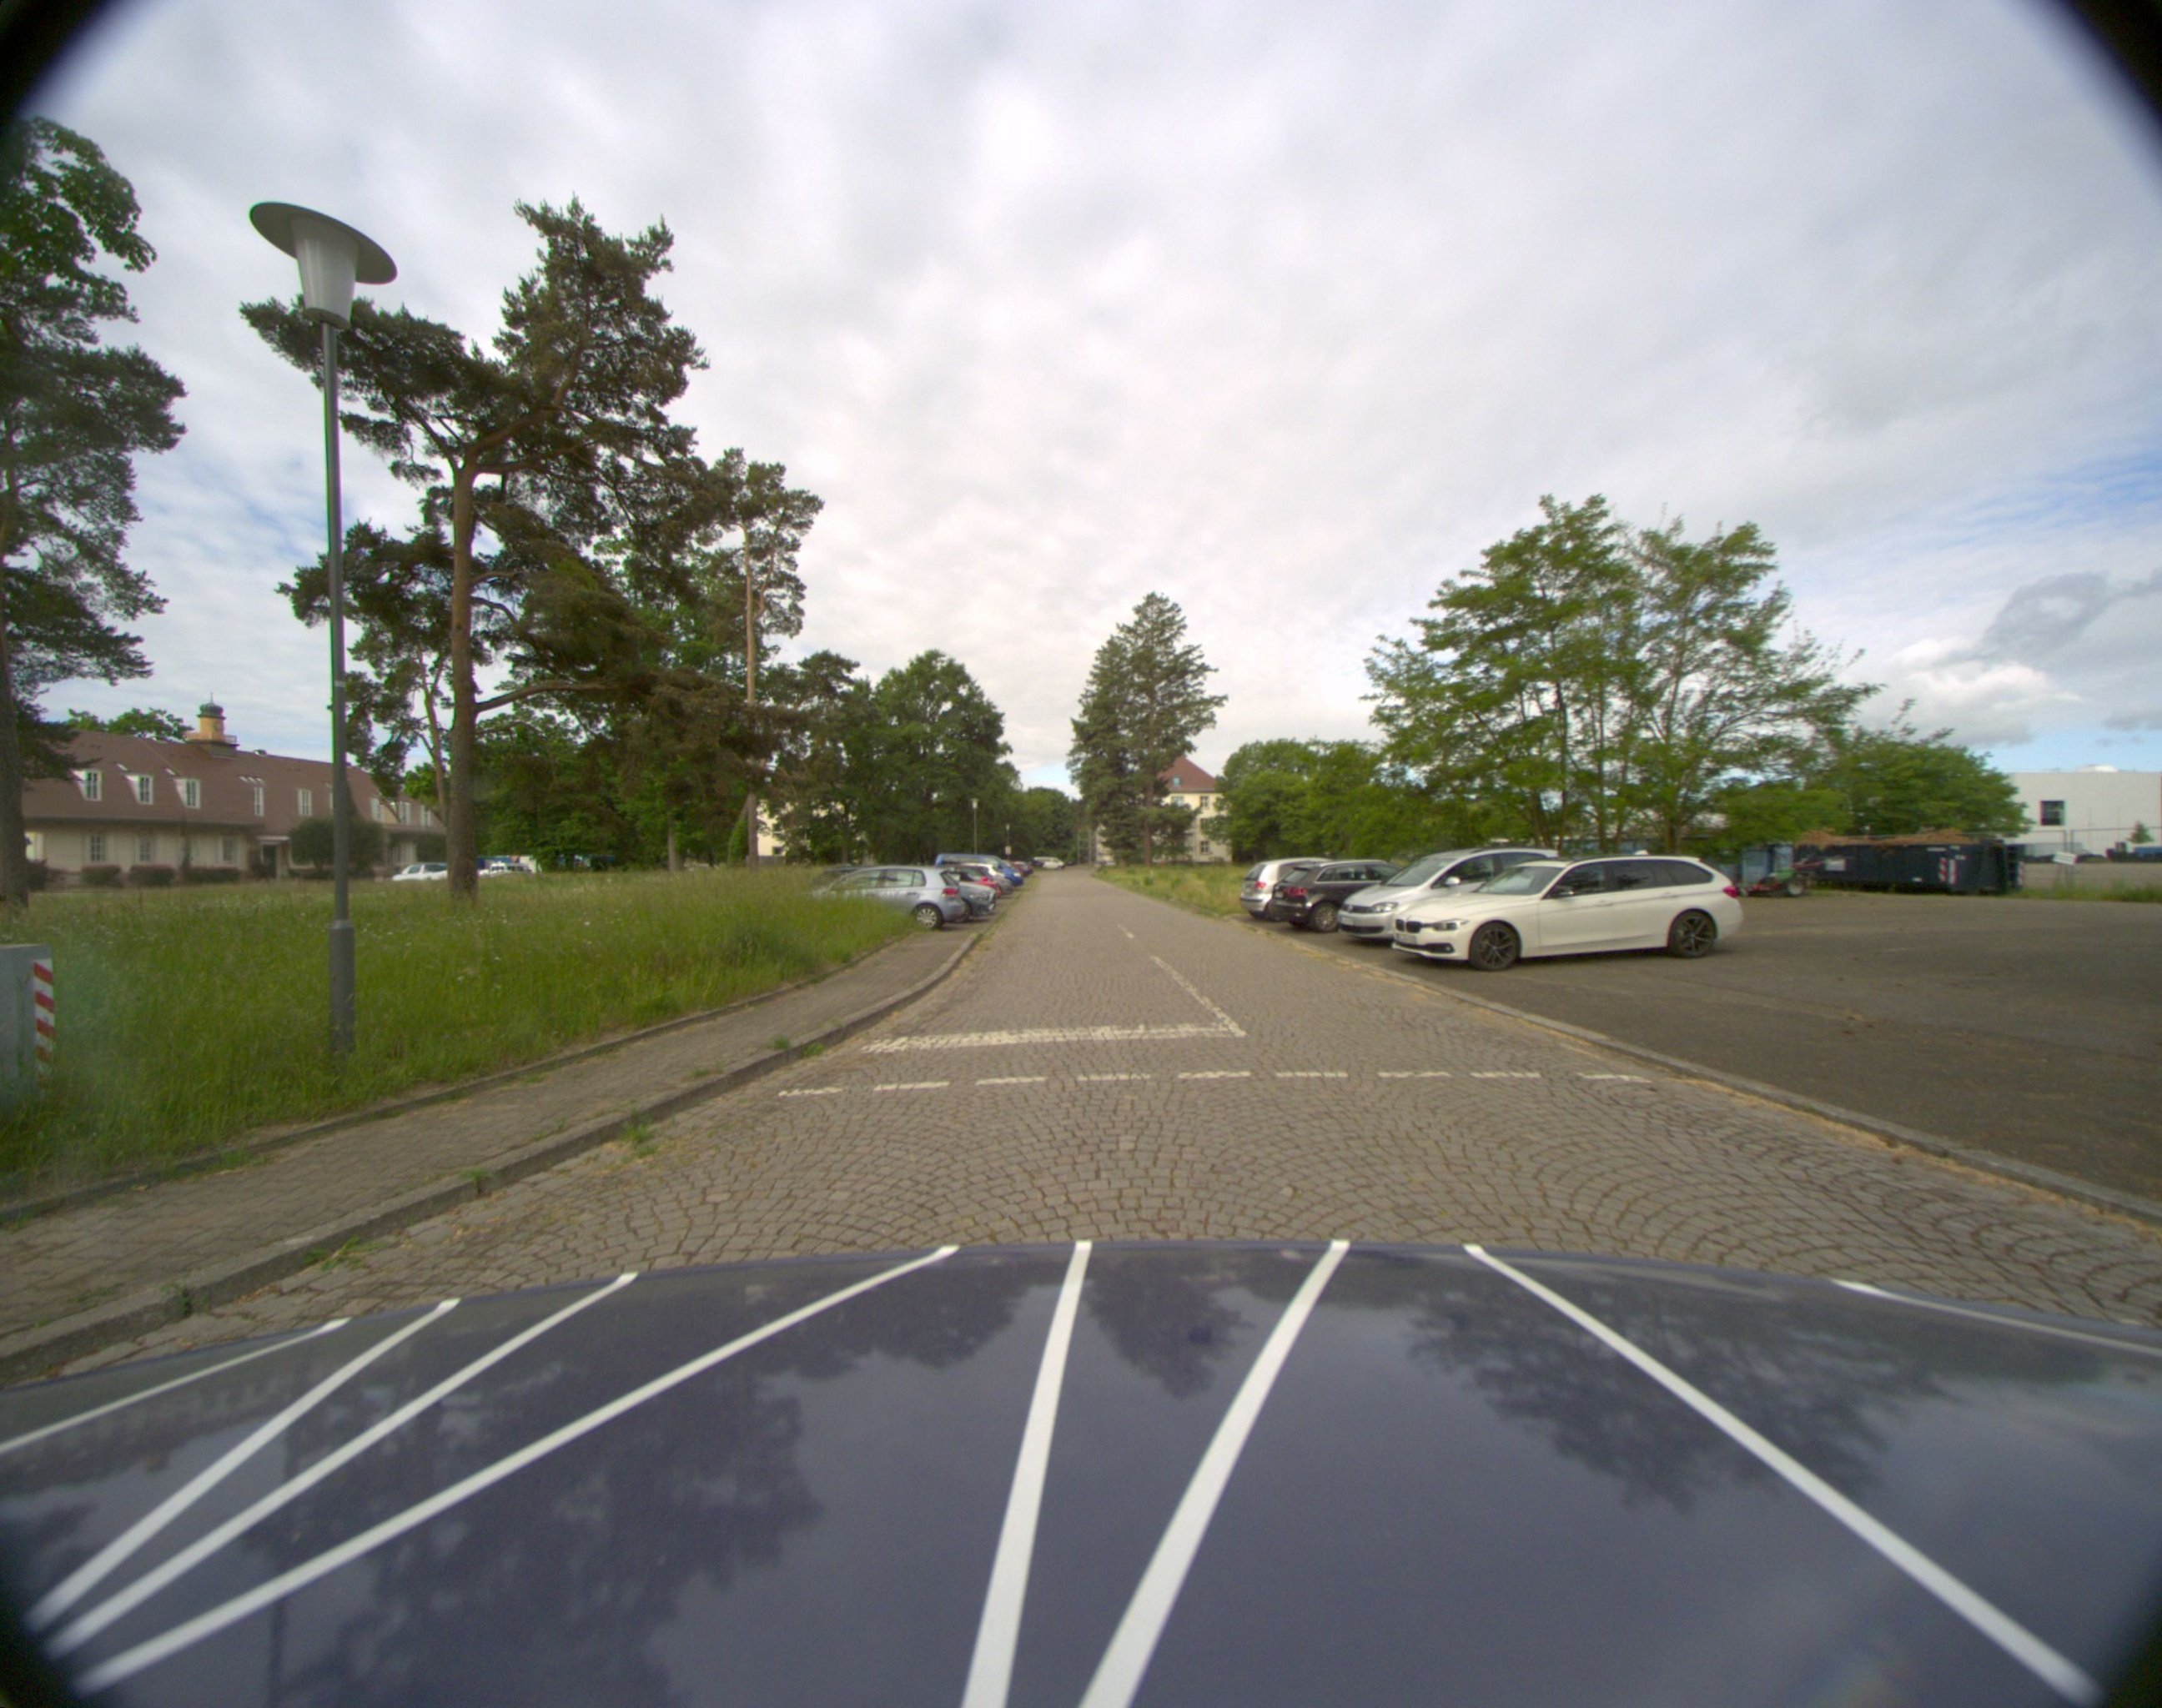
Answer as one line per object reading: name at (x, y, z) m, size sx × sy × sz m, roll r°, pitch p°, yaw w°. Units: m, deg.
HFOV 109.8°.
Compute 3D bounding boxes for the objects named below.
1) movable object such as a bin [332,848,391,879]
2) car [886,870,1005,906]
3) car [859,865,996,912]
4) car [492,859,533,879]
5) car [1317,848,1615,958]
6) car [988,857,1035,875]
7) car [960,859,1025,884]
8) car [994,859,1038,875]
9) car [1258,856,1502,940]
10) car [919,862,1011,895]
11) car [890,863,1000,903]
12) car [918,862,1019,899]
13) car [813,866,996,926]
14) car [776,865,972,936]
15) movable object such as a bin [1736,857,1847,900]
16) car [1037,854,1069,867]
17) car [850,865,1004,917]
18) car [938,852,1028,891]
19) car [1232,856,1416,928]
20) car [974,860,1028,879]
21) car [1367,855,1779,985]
movable object such as a bin at (-91.507, 1.161, 96.632) m, size 5.459 × 3.748 × 2.053 m, roll -2°, pitch 1°, yaw 2°
car at (-4.824, 1.210, 27.406) m, size 4.051 × 1.233 × 1.549 m, roll 0°, pitch 0°, yaw -1°
car at (-5.012, 1.110, 25.211) m, size 4.184 × 1.473 × 1.717 m, roll 0°, pitch 0°, yaw -1°
car at (-71.137, 1.896, 95.190) m, size 1.862 × 2.351 × 4.446 m, roll -2°, pitch 1°, yaw -2°
car at (6.695, 0.794, 13.445) m, size 4.376 × 1.588 × 1.871 m, roll -2°, pitch 0°, yaw -8°
car at (-6.461, 1.120, 70.763) m, size 4.082 × 1.685 × 1.727 m, roll 0°, pitch 0°, yaw 5°
car at (-5.820, 1.161, 50.112) m, size 4.084 × 1.584 × 1.654 m, roll 0°, pitch 0°, yaw 1°
car at (-6.423, 1.321, 75.457) m, size 4.092 × 1.524 × 1.727 m, roll 0°, pitch 0°, yaw 5°
car at (6.217, 0.866, 16.070) m, size 4.447 × 1.416 × 1.721 m, roll -3°, pitch 0°, yaw -4°
car at (-5.419, 1.134, 35.803) m, size 4.050 × 1.507 × 1.600 m, roll 0°, pitch 0°, yaw 1°
car at (-5.310, 1.119, 30.056) m, size 4.050 × 1.507 × 1.600 m, roll 0°, pitch 0°, yaw 1°
car at (-4.834, 1.119, 32.901) m, size 4.097 × 1.507 × 1.700 m, roll 0°, pitch 0°, yaw 1°
car at (-4.534, 1.076, 20.003) m, size 4.441 × 1.375 × 1.663 m, roll 2°, pitch 0°, yaw -3°
car at (-4.611, 1.025, 17.371) m, size 4.012 × 1.420 × 1.697 m, roll 2°, pitch 0°, yaw -3°
movable object such as a bin at (19.106, 0.644, 20.464) m, size 2.268 × 1.119 × 0.858 m, roll 0°, pitch 1°, yaw -4°
car at (-4.600, 1.105, 124.218) m, size 5.150 × 2.136 × 1.774 m, roll 0°, pitch 0°, yaw -5°
car at (-4.523, 1.084, 22.750) m, size 4.247 × 1.465 × 1.717 m, roll 0°, pitch 0°, yaw 0°
car at (-5.248, 0.924, 41.227) m, size 4.602 × 1.994 × 1.912 m, roll 0°, pitch 1°, yaw 0°
car at (5.929, 0.885, 18.736) m, size 3.961 × 1.462 × 1.584 m, roll -3°, pitch 1°, yaw -5°
car at (-6.351, 1.204, 60.414) m, size 4.084 × 1.436 × 1.726 m, roll 0°, pitch 0°, yaw 0°
car at (6.854, 0.865, 10.897) m, size 4.752 × 1.479 × 1.866 m, roll -2°, pitch -1°, yaw -4°
